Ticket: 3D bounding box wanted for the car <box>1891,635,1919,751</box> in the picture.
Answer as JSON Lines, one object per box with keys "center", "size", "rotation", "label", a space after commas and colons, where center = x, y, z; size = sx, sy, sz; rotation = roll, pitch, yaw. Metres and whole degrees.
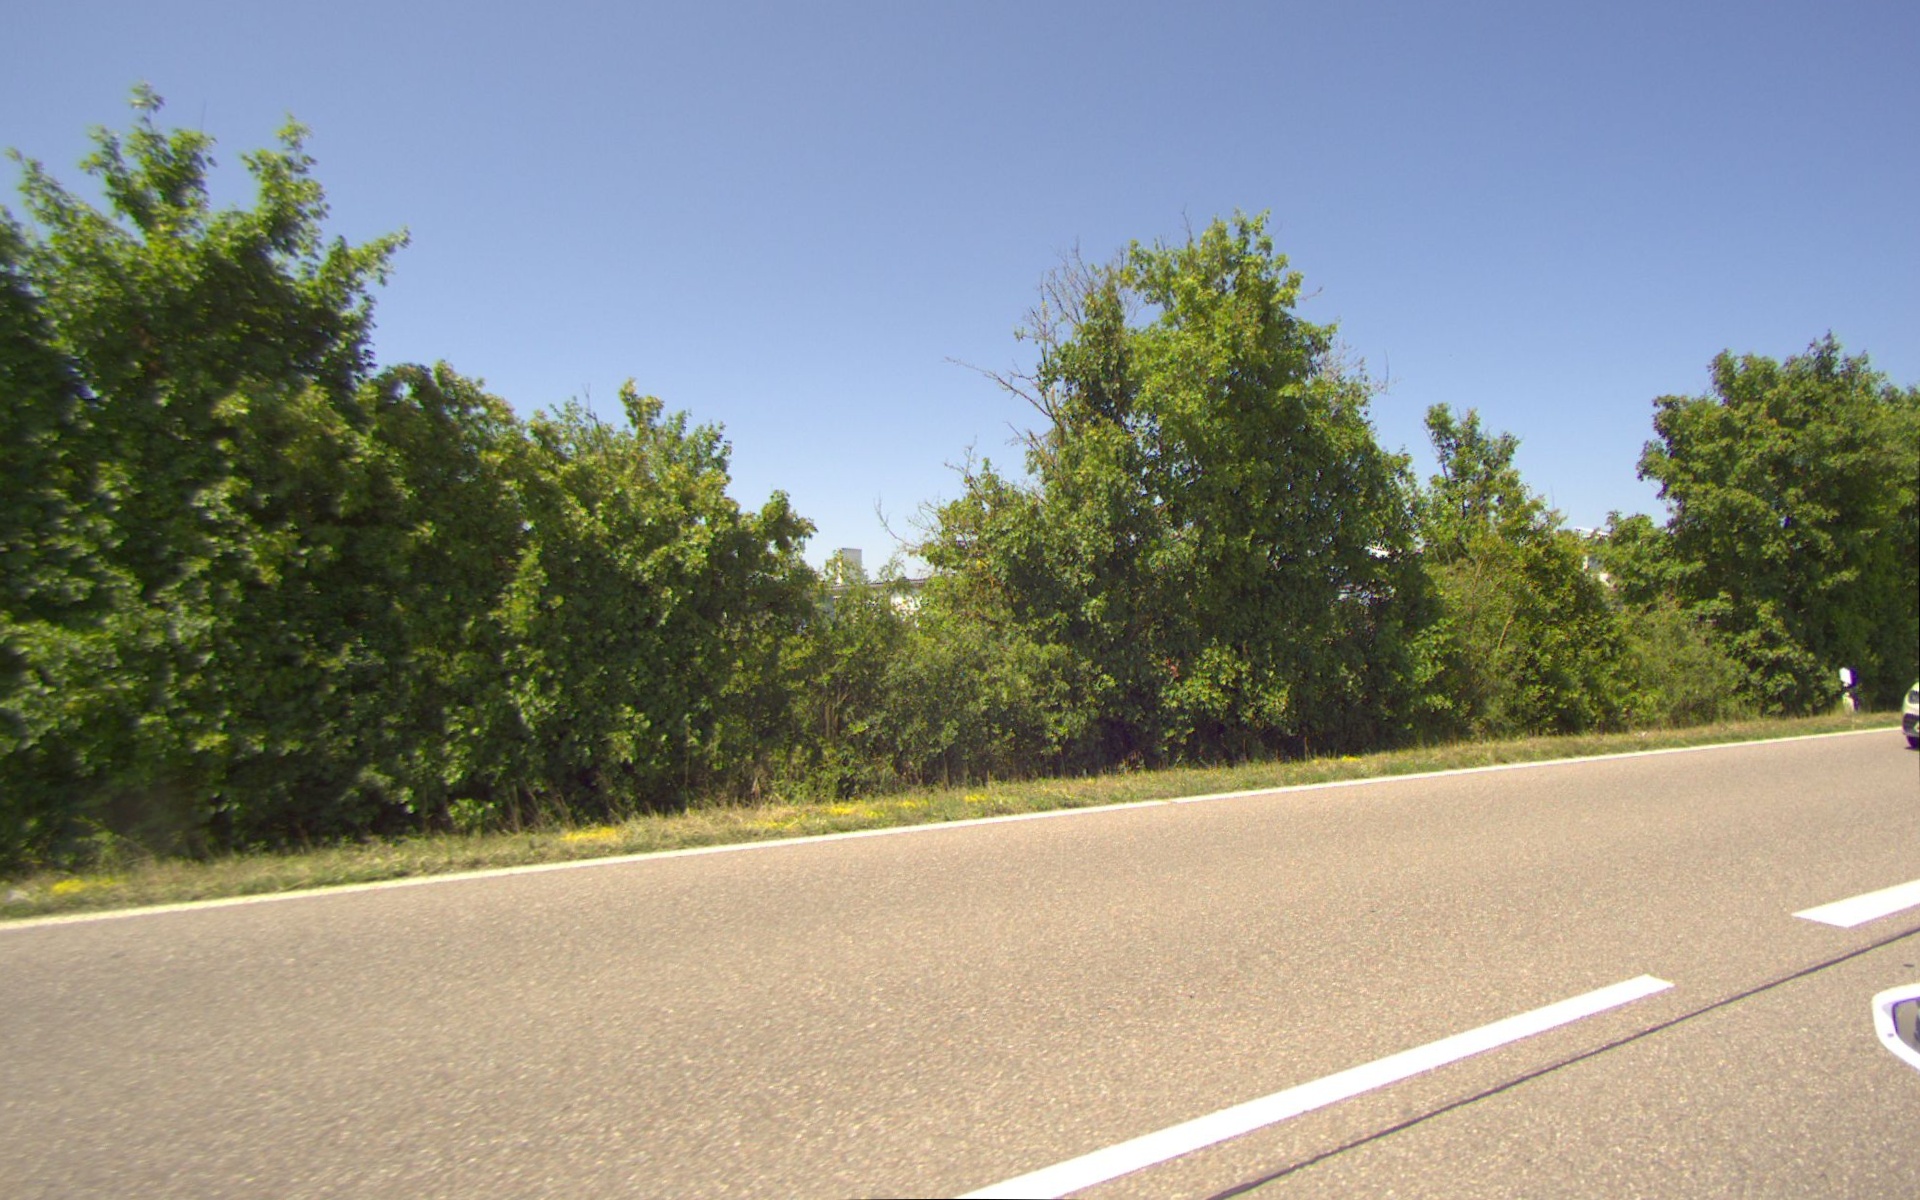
{"center": [13.627, 1.181, 12.699], "size": [3.774, 1.400, 1.699], "rotation": [2, -1, -30], "label": "car"}
